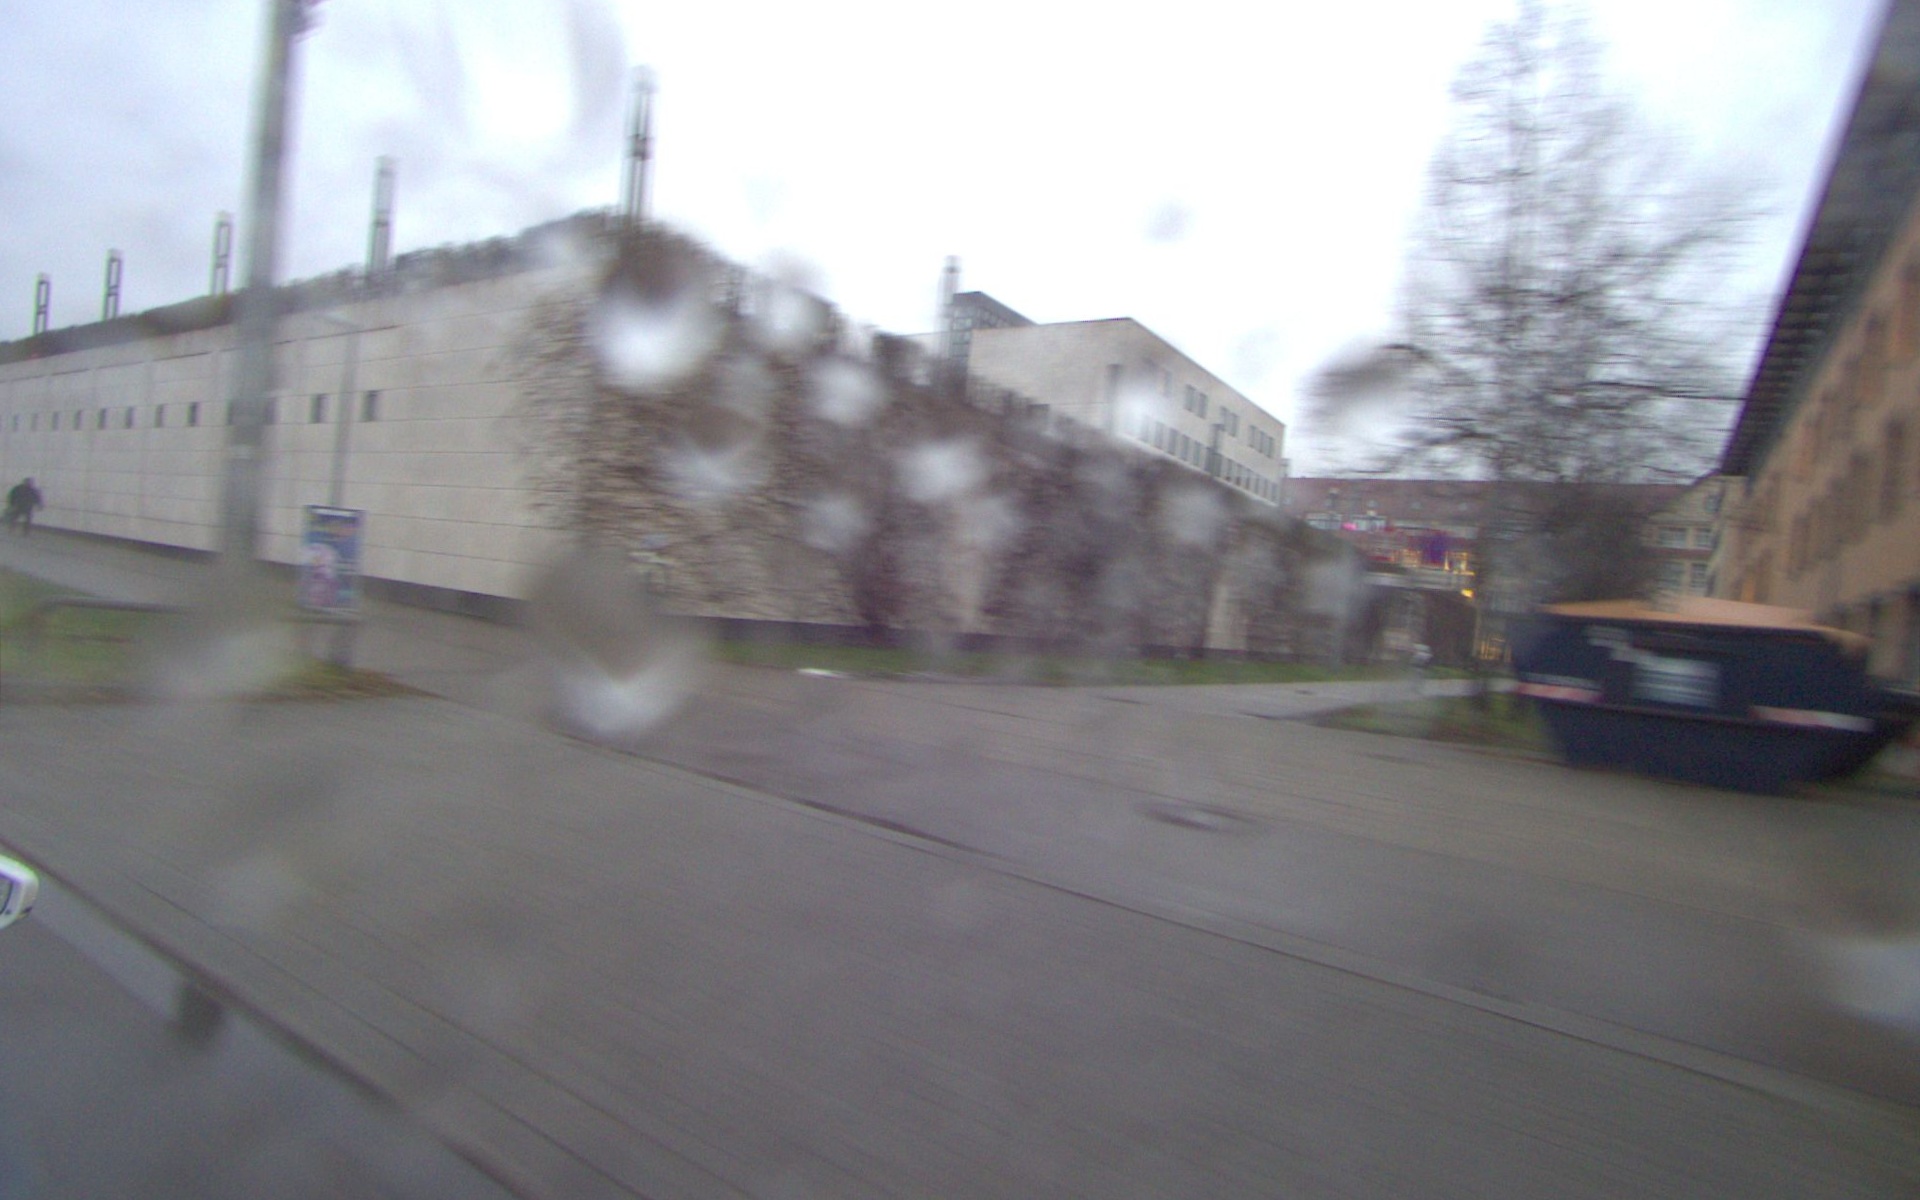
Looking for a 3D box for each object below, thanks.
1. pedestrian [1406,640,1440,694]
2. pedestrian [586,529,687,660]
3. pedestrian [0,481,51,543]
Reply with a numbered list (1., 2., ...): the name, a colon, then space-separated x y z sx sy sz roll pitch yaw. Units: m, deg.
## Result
1. pedestrian: 14.973 2.158 32.530 0.722 1.657 0.710 6 1 37
2. pedestrian: -4.322 -0.068 13.430 1.049 1.631 0.621 6 1 31
3. pedestrian: -27.034 -2.525 29.032 0.683 1.639 0.938 6 1 32
